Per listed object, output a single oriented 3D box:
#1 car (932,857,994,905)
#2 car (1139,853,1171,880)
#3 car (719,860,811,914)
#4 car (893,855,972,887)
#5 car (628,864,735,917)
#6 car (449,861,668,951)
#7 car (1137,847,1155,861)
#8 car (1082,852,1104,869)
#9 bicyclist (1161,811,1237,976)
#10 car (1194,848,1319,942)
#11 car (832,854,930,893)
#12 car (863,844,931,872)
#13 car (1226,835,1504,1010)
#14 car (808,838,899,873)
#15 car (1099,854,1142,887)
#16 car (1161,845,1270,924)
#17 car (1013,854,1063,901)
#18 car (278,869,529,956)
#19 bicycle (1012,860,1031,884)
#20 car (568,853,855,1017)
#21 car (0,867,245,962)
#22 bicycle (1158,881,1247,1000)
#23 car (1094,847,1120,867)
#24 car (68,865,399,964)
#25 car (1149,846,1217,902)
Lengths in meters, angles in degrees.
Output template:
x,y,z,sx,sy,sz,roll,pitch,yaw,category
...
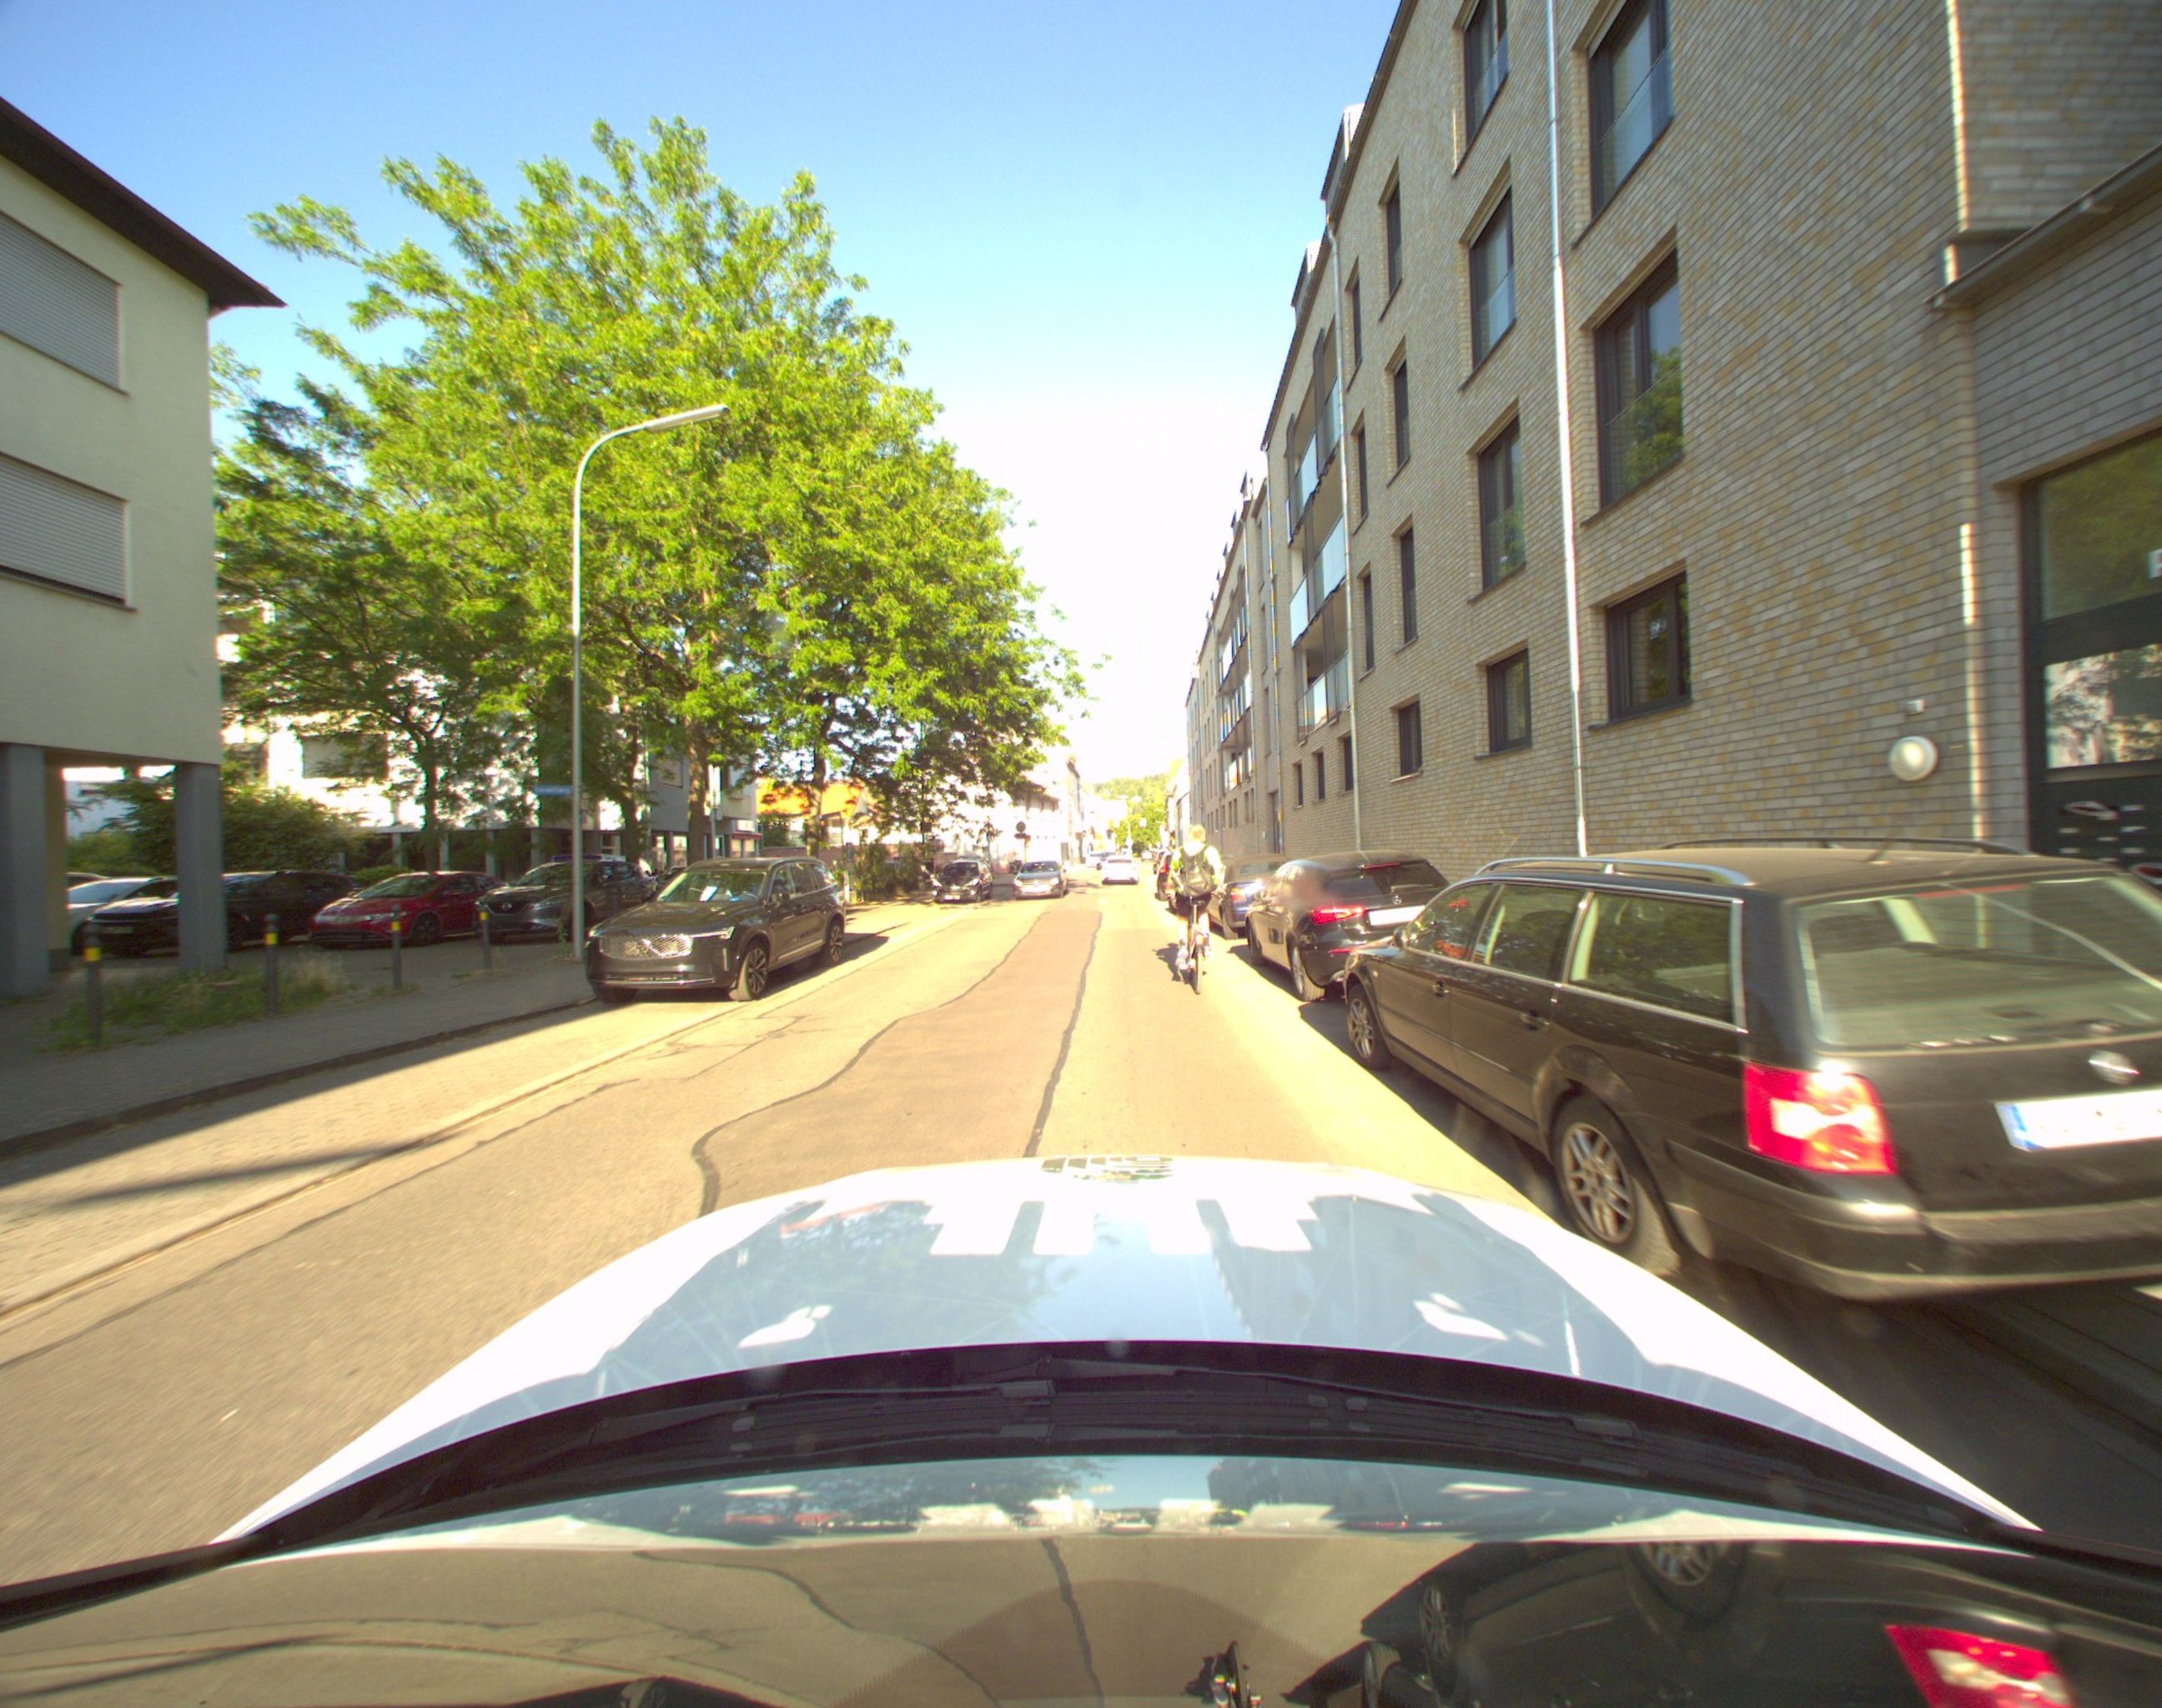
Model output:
x,y,z,sx,sy,sz,roll,pitch,yaw,category
-4.298,0.935,30.097,1.699,1.575,3.913,-2,0,-1,car
4.993,0.801,55.444,1.851,1.587,4.624,-5,0,2,car
-11.000,1.094,28.655,1.785,1.689,3.962,0,0,-2,car
-8.018,0.885,44.109,3.886,1.575,1.711,-2,0,2,car
-13.492,1.186,27.735,1.852,1.587,3.670,0,0,-1,car
-10.823,0.969,17.364,1.853,1.587,4.616,0,0,-3,car
8.882,-0.021,111.507,1.848,1.791,4.603,-2,0,-2,car
1.282,0.691,85.833,1.937,1.587,4.625,-5,0,3,car
1.345,0.438,9.470,0.696,1.790,1.041,-2,-1,1,bicyclist
3.193,0.693,15.457,1.503,1.444,3.529,-5,0,0,car
-9.066,0.875,37.014,3.879,1.575,1.713,-2,0,7,car
-11.353,0.219,50.555,3.898,1.575,1.705,-2,0,-8,car
3.075,0.643,9.960,1.851,1.587,4.622,-2,0,1,car
-11.089,0.056,39.813,3.882,1.575,1.712,-2,0,5,car
1.893,0.768,40.288,1.837,1.491,4.142,-2,0,-1,car
3.204,0.686,20.355,1.852,1.587,4.621,-5,0,0,car
-1.570,0.831,30.758,1.659,1.575,3.913,-2,0,-1,car
-13.432,1.076,16.540,1.714,1.448,4.140,0,0,-2,car
-3.310,0.960,45.213,0.833,1.217,2.841,-2,0,0,bicycle
-4.868,0.924,11.620,1.846,1.791,4.608,-2,0,1,car
-19.306,1.098,16.182,1.654,1.587,3.669,0,0,-2,car
1.359,0.926,9.542,0.696,1.130,2.403,-2,-1,1,bicycle
2.381,0.260,72.899,1.936,1.587,4.628,-5,0,5,car
-16.440,1.062,16.253,1.853,1.587,4.618,0,0,-2,car
3.535,0.665,29.030,1.851,1.702,4.624,-5,0,2,car
